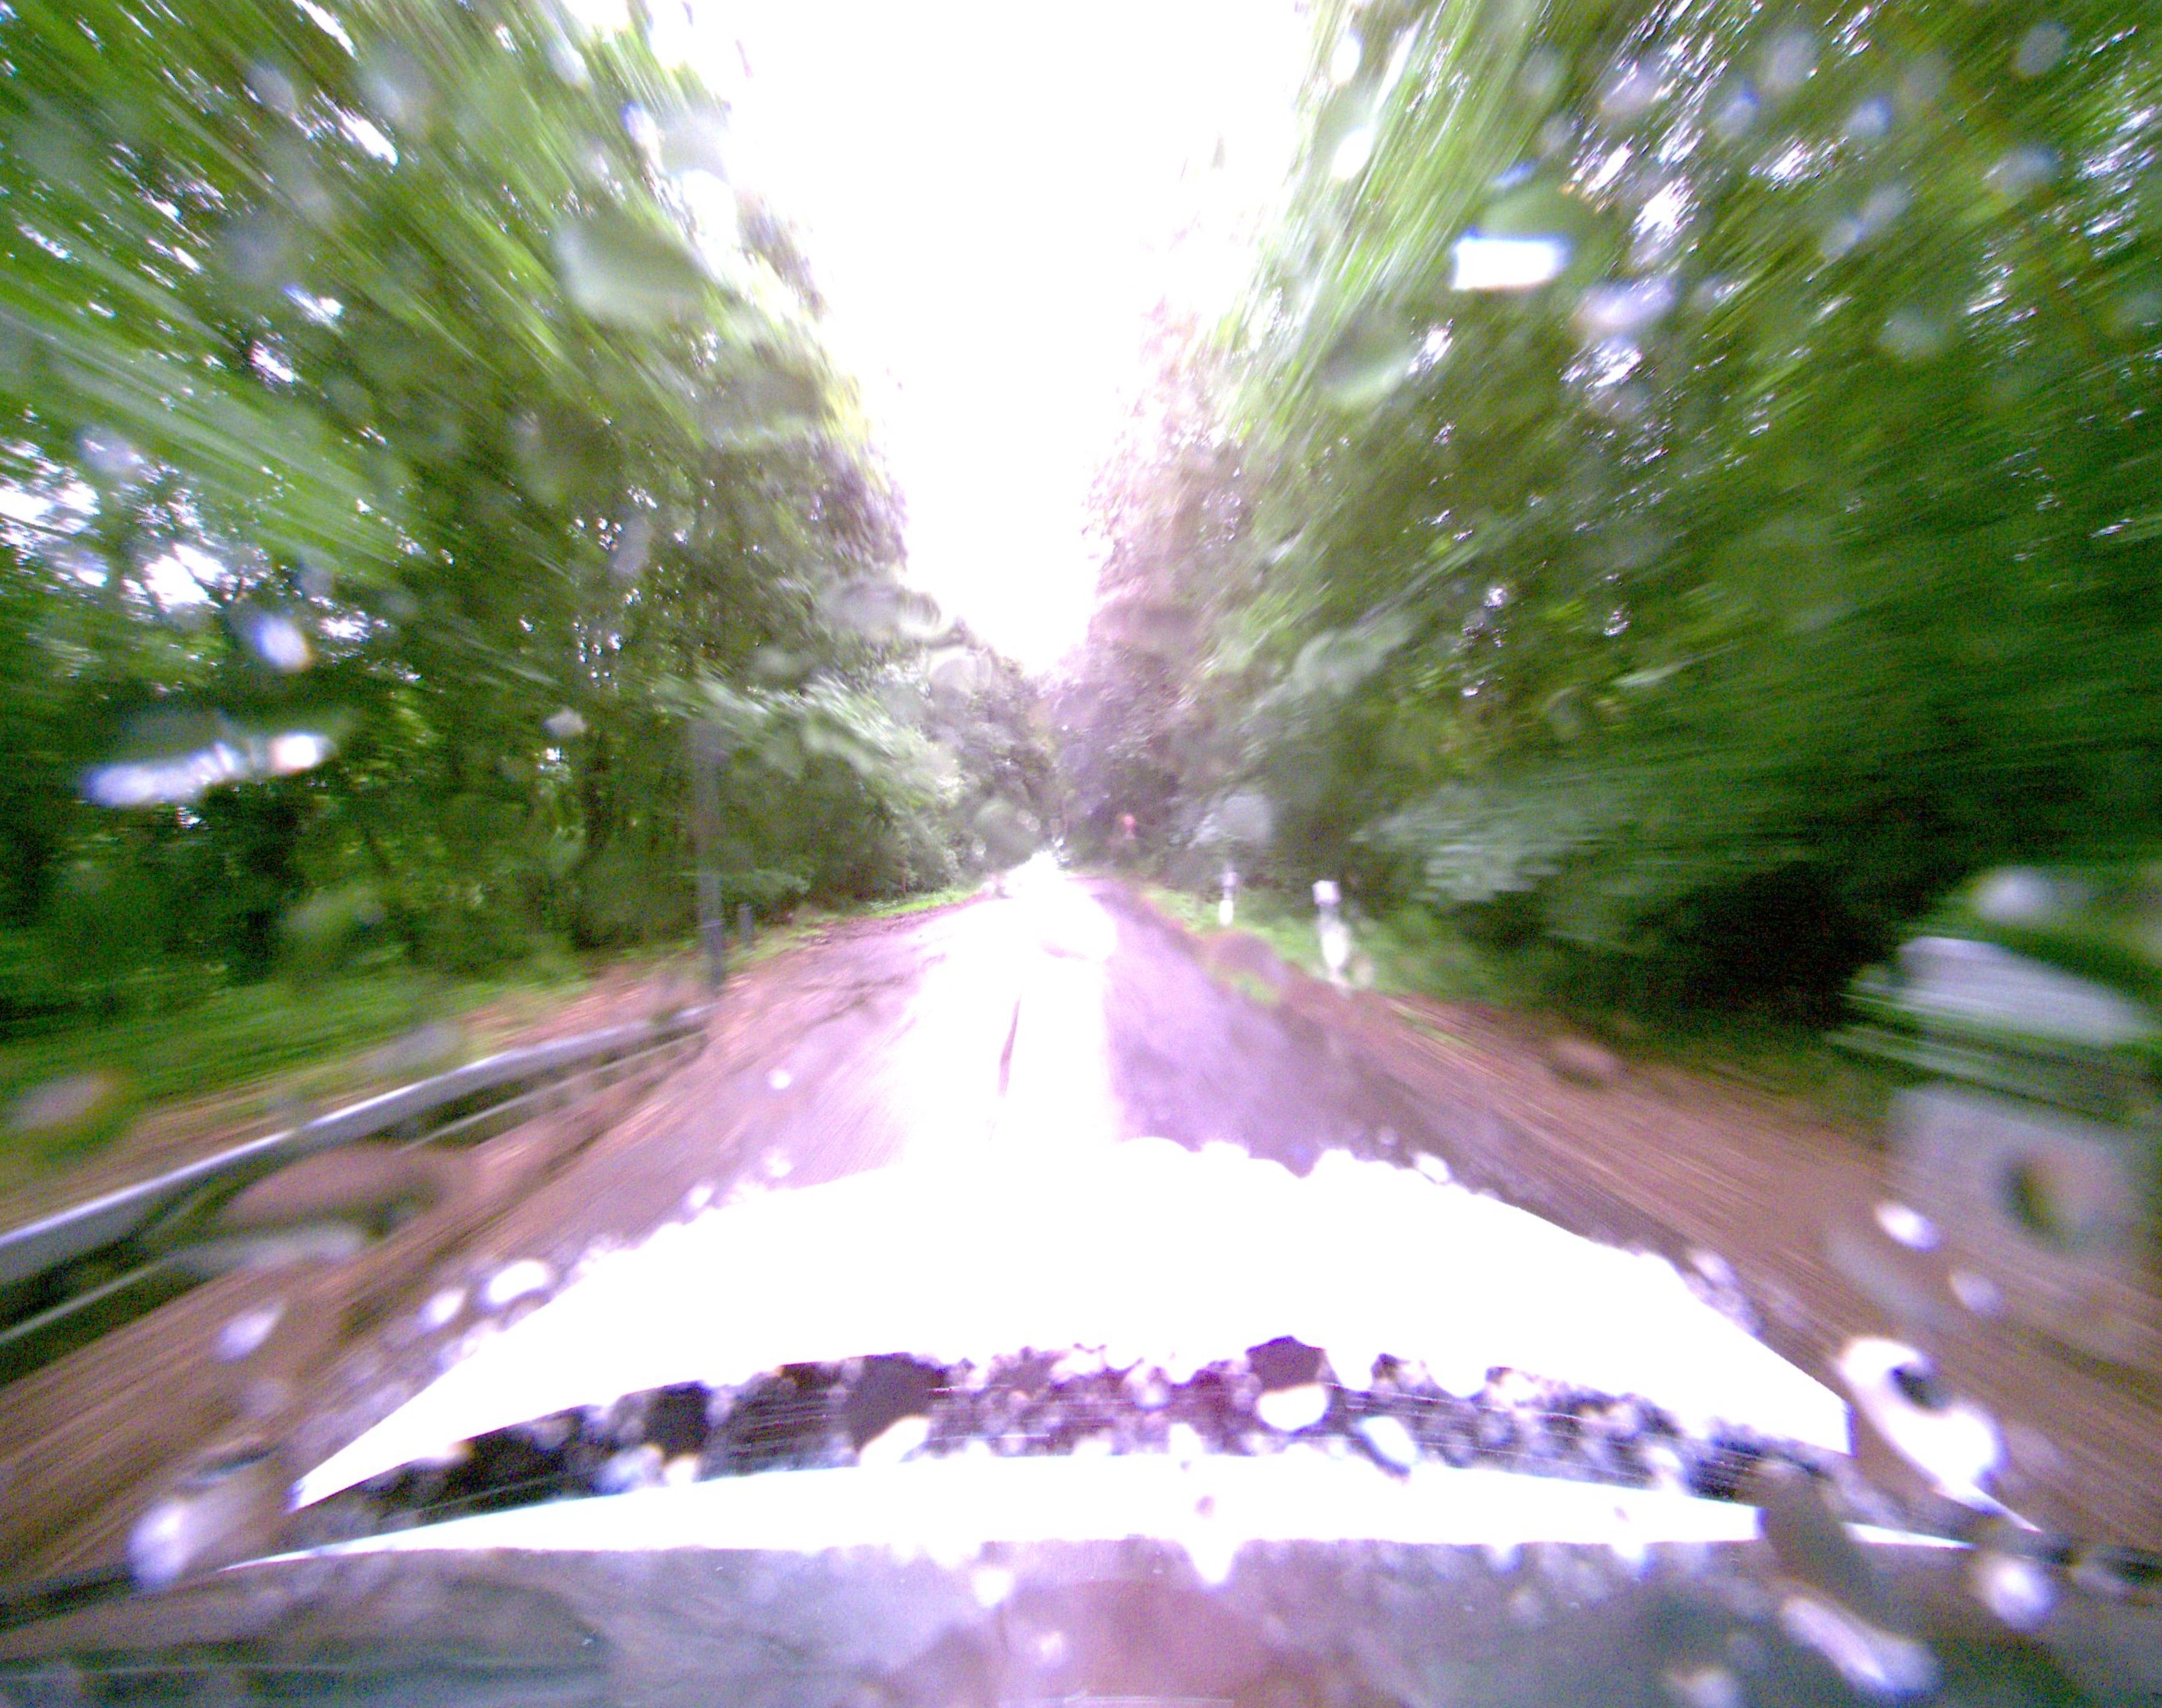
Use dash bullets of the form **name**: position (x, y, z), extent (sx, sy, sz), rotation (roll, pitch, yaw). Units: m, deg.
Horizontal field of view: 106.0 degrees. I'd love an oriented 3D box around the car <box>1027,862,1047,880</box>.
- **car**: position (-4.079, 1.581, 75.697), extent (1.710, 1.475, 3.886), rotation (-4, 0, -3)
